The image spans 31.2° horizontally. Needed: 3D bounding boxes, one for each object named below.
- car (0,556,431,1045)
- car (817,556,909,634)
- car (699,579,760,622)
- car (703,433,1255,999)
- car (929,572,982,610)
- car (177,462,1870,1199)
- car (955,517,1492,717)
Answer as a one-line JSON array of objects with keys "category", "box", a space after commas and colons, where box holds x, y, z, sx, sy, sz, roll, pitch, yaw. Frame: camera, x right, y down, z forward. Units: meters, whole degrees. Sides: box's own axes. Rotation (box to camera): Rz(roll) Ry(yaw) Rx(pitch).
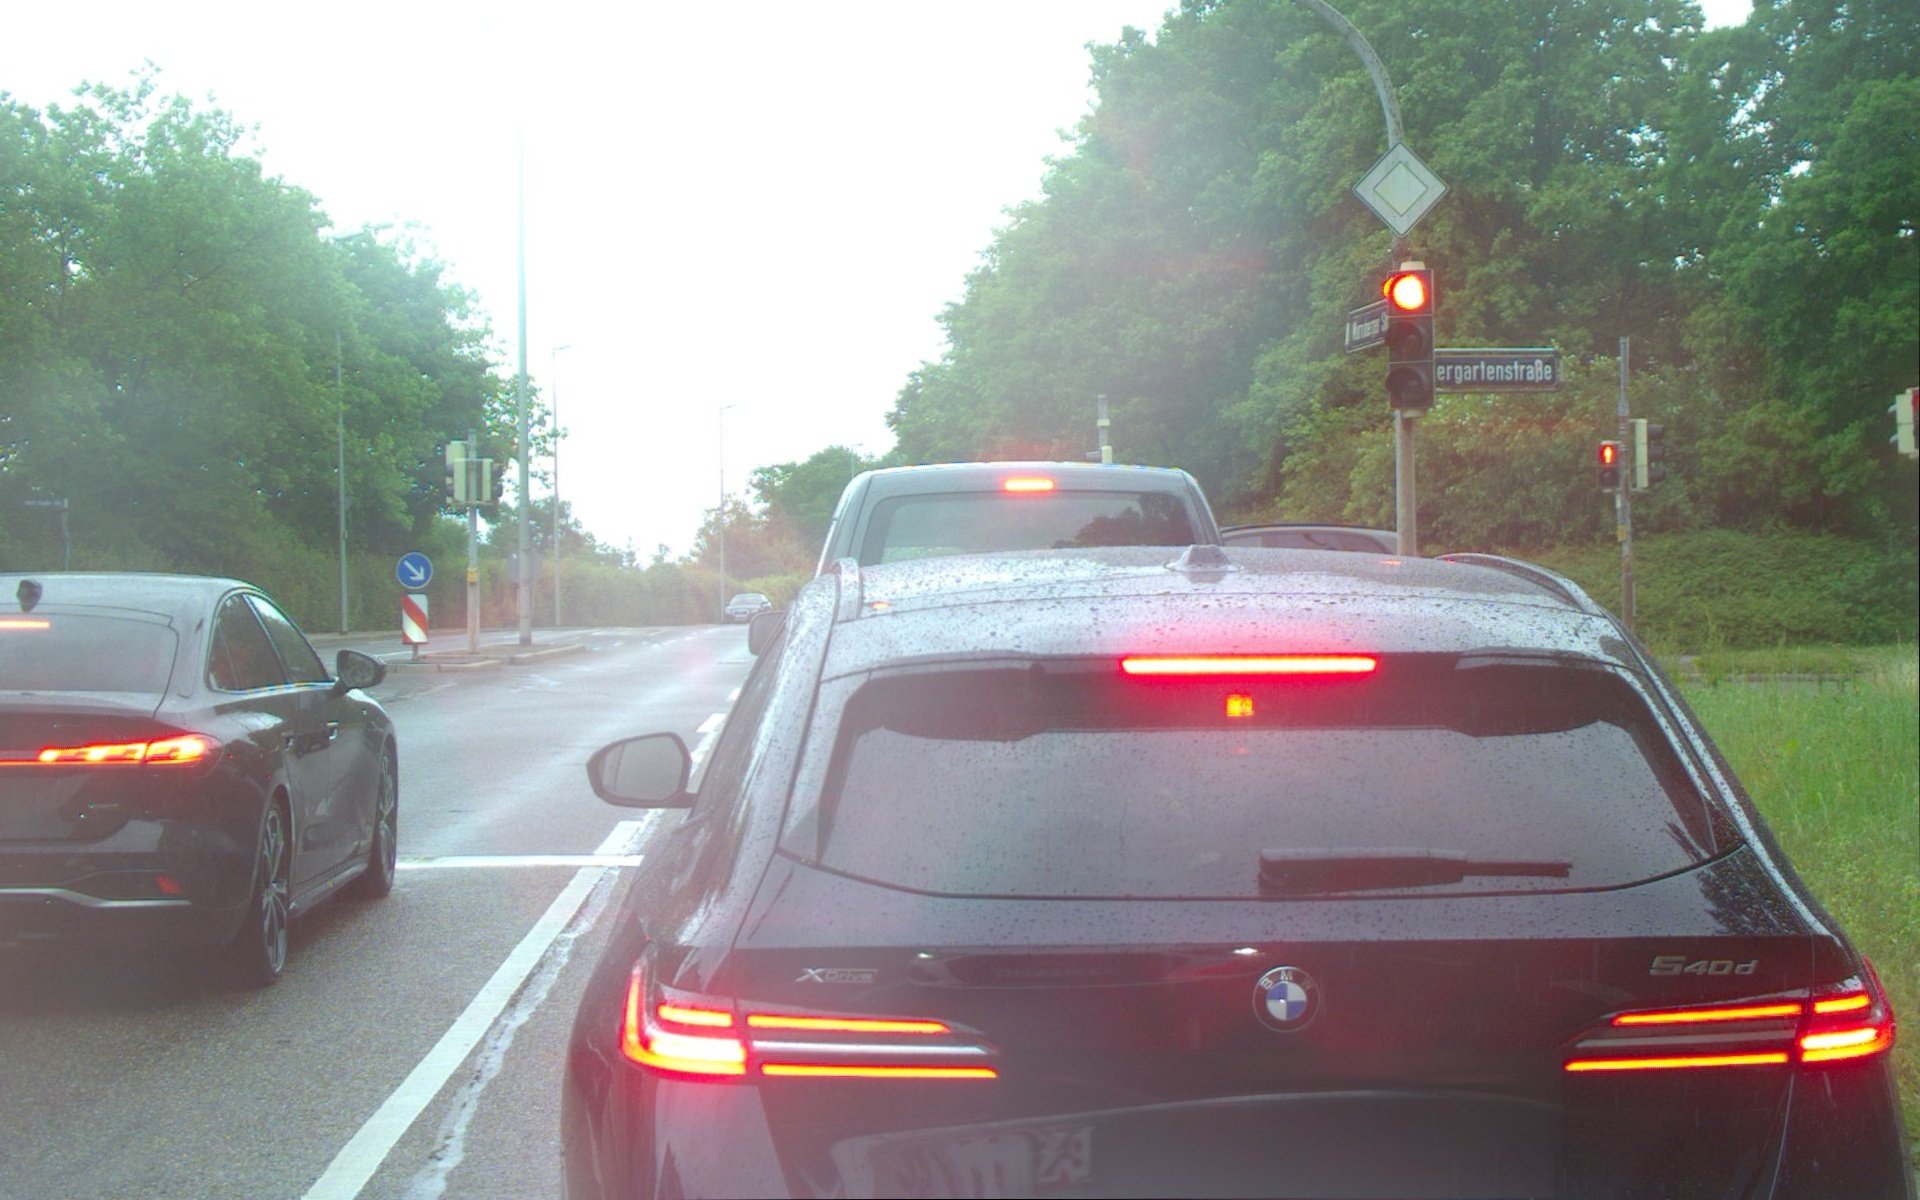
[{"category": "car", "box": [-3.365, 0.645, 13.047, 1.993, 1.522, 4.328, -2, 0, 0]}, {"category": "car", "box": [-1.908, -0.099, 67.328, 1.697, 1.422, 3.514, -2, 0, -2]}, {"category": "car", "box": [-10.296, -0.002, 153.873, 1.994, 1.820, 3.999, -2, 0, 6]}, {"category": "car", "box": [0.060, 0.368, 13.345, 1.818, 1.862, 3.952, 0, 0, 0]}, {"category": "car", "box": [-0.189, -0.415, 153.926, 1.994, 1.618, 3.952, -2, 0, 4]}, {"category": "car", "box": [0.176, 0.628, 6.166, 1.898, 1.546, 4.614, 0, 0, 3]}, {"category": "car", "box": [2.529, 0.130, 33.113, 4.701, 1.711, 2.001, -2, 1, -20]}]
